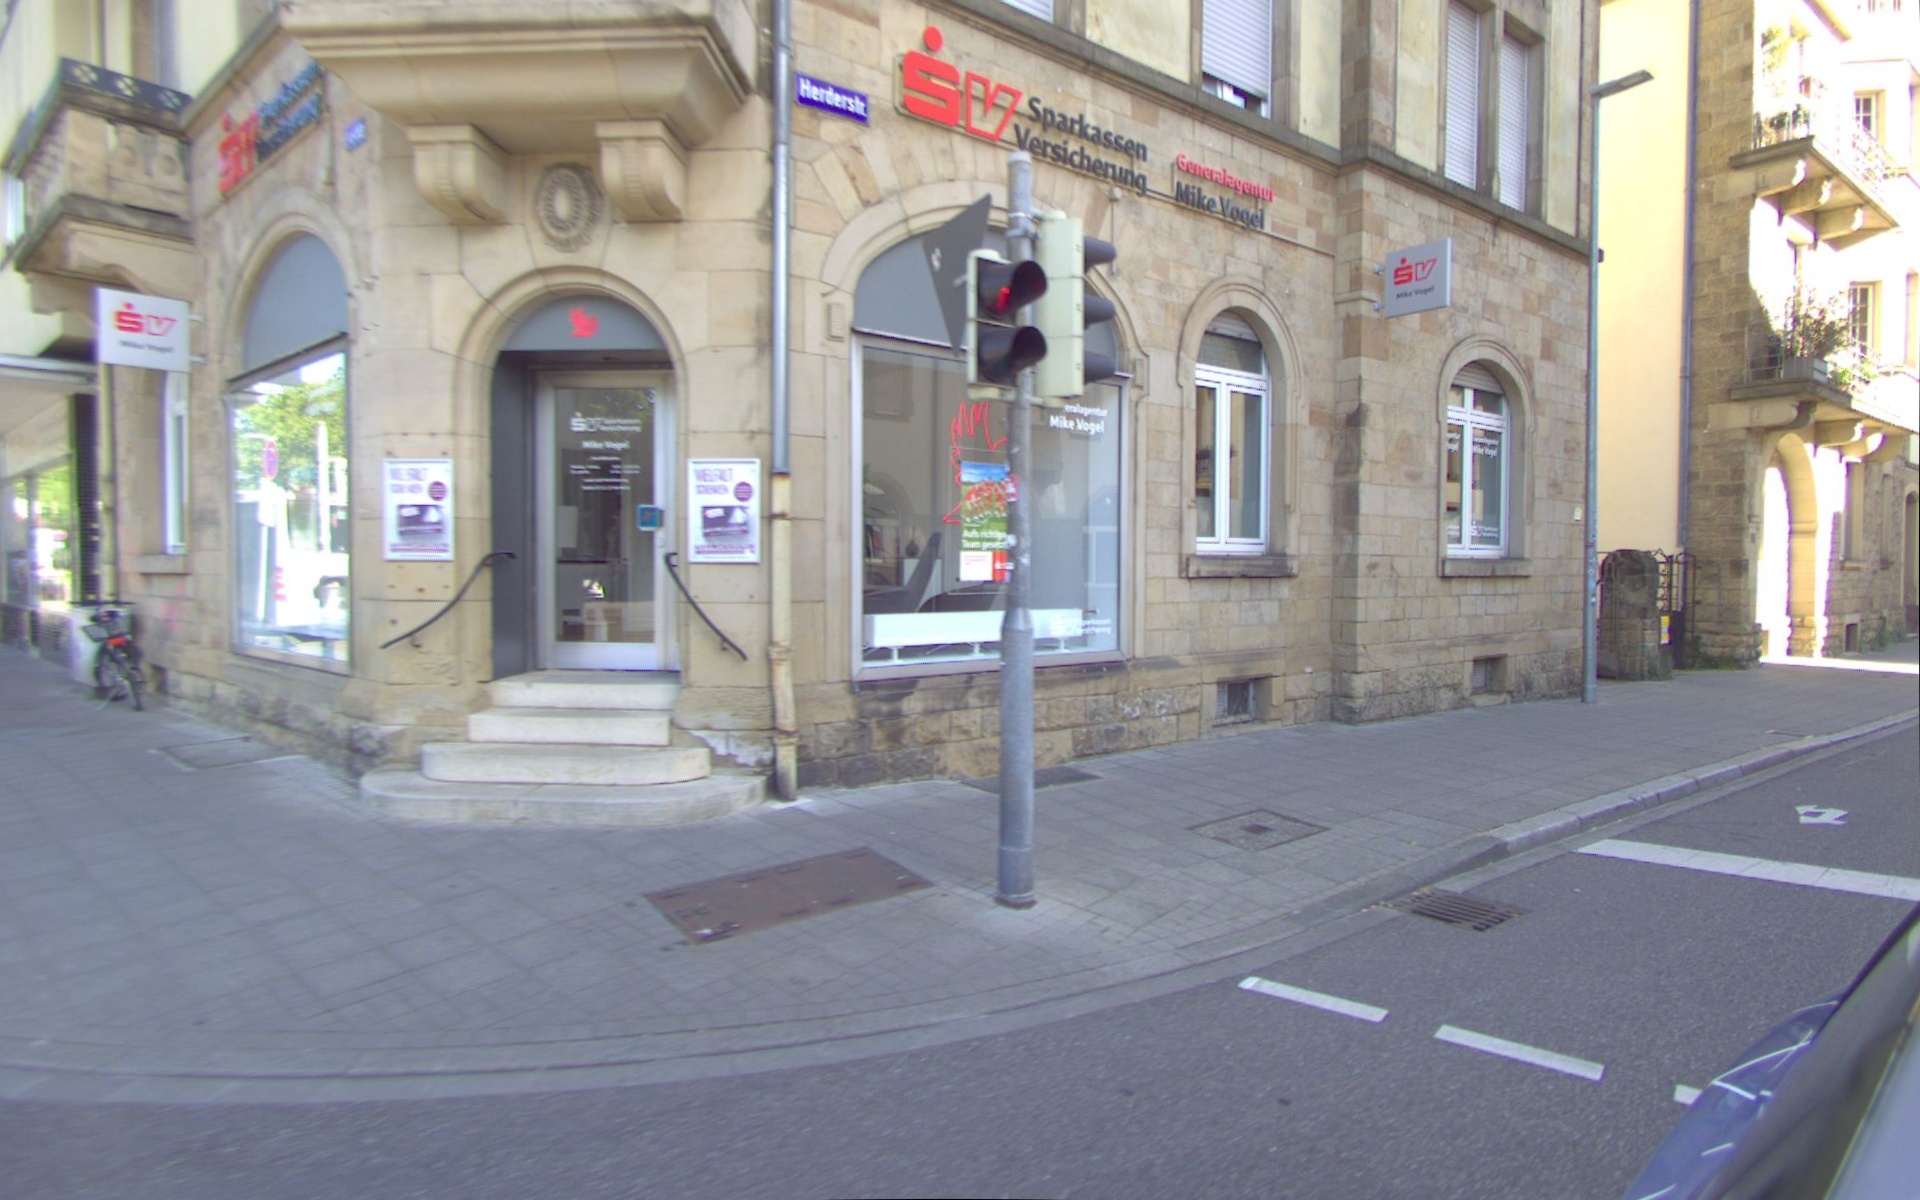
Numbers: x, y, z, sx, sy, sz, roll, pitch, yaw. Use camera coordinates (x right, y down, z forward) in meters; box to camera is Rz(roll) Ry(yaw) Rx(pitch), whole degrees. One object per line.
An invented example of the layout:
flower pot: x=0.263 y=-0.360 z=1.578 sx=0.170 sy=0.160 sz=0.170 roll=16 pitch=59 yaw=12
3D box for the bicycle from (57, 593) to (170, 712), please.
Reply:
bicycle: x=-8.211 y=0.461 z=9.787 sx=1.945 sy=0.987 sz=0.509 roll=2 pitch=5 yaw=41
